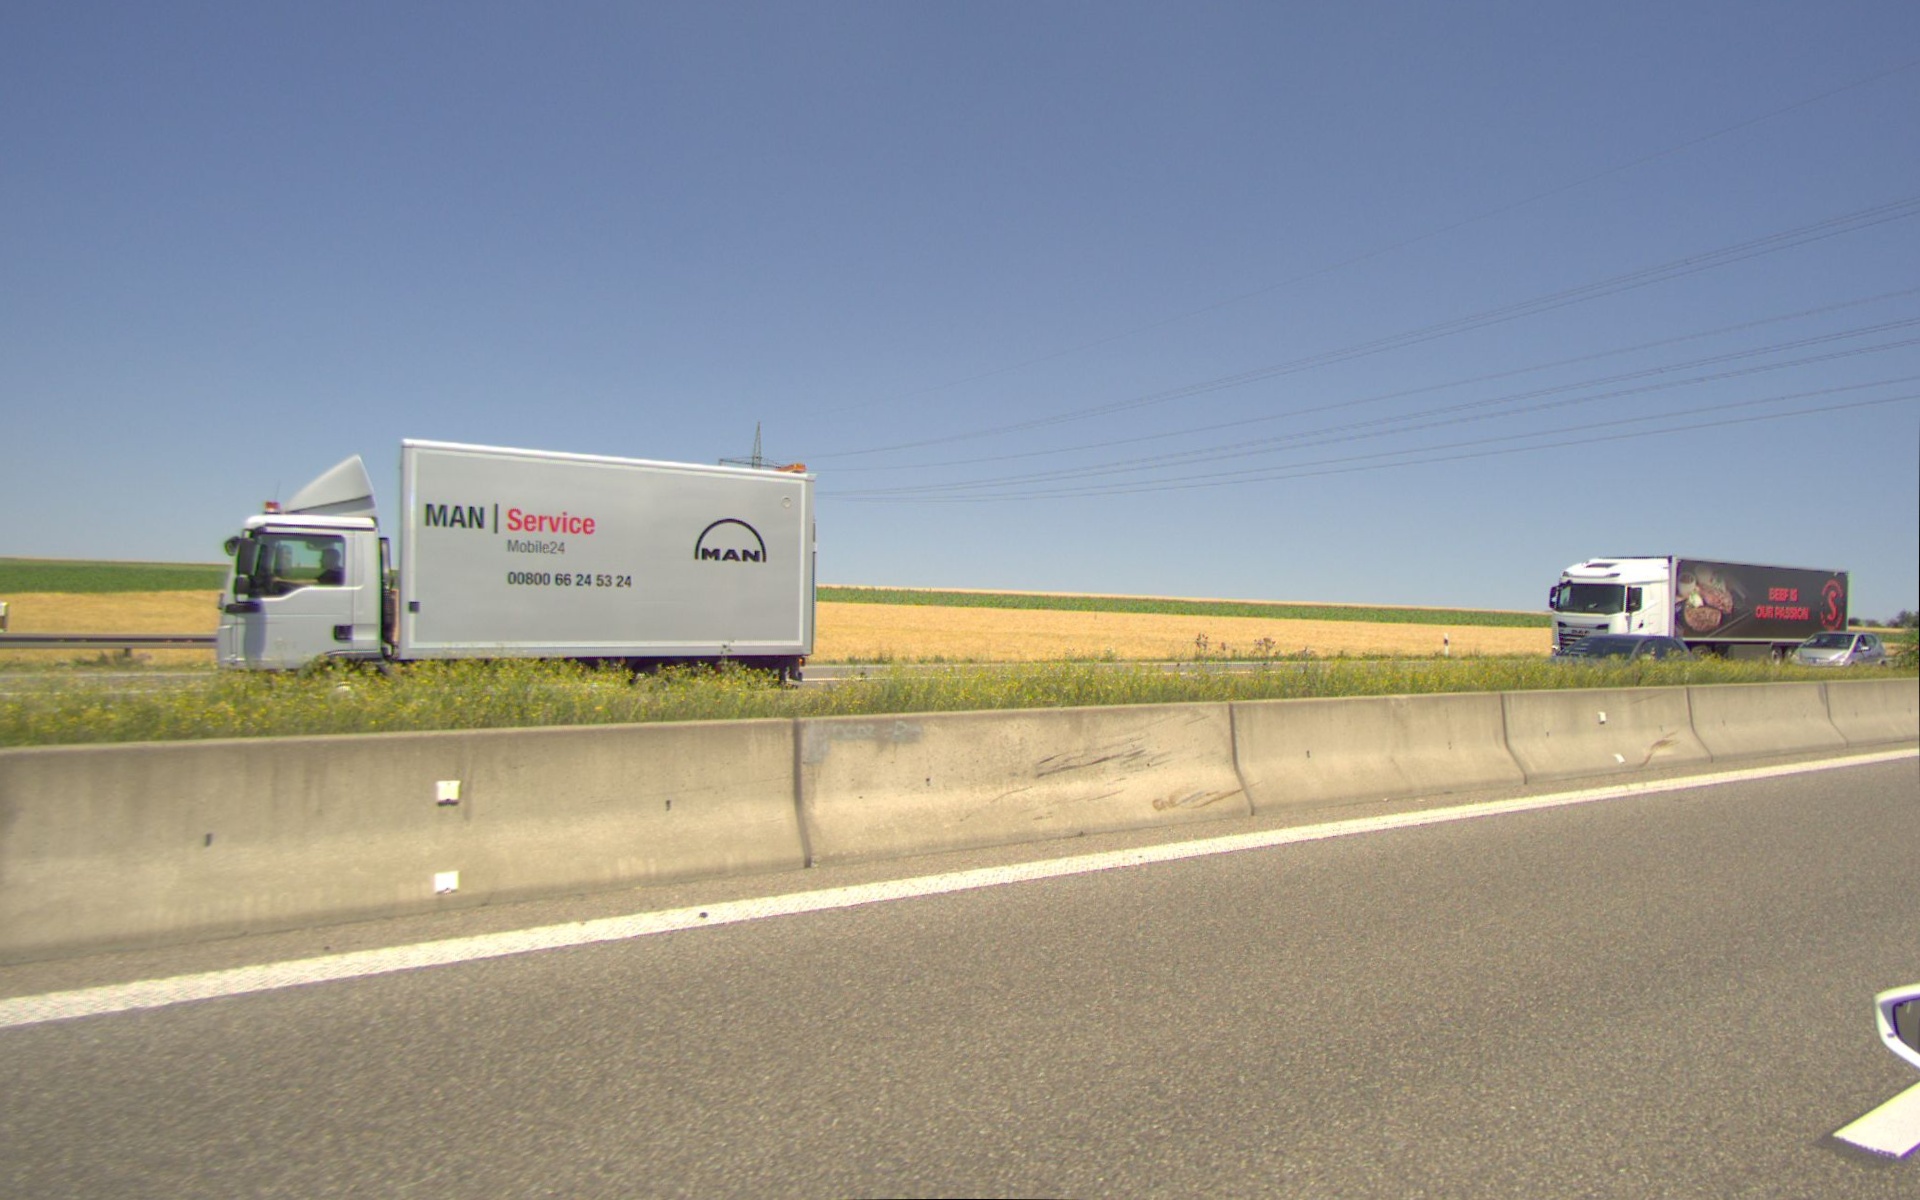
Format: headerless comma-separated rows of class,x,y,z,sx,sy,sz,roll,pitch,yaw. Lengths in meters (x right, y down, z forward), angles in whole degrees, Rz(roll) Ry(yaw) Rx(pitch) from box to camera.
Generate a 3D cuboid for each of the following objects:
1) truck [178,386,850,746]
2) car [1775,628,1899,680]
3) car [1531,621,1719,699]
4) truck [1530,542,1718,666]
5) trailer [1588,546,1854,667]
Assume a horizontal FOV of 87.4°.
truck,-5.646,-0.310,13.835,7.689,3.793,2.921,1,0,-31
car,29.549,1.781,33.839,3.953,1.599,1.984,2,0,-30
car,14.327,1.261,21.605,3.953,1.487,1.778,2,0,-30
truck,23.630,0.210,35.709,6.434,4.081,2.841,2,0,-29
trailer,29.908,0.394,39.111,13.834,4.160,2.781,2,0,-29
